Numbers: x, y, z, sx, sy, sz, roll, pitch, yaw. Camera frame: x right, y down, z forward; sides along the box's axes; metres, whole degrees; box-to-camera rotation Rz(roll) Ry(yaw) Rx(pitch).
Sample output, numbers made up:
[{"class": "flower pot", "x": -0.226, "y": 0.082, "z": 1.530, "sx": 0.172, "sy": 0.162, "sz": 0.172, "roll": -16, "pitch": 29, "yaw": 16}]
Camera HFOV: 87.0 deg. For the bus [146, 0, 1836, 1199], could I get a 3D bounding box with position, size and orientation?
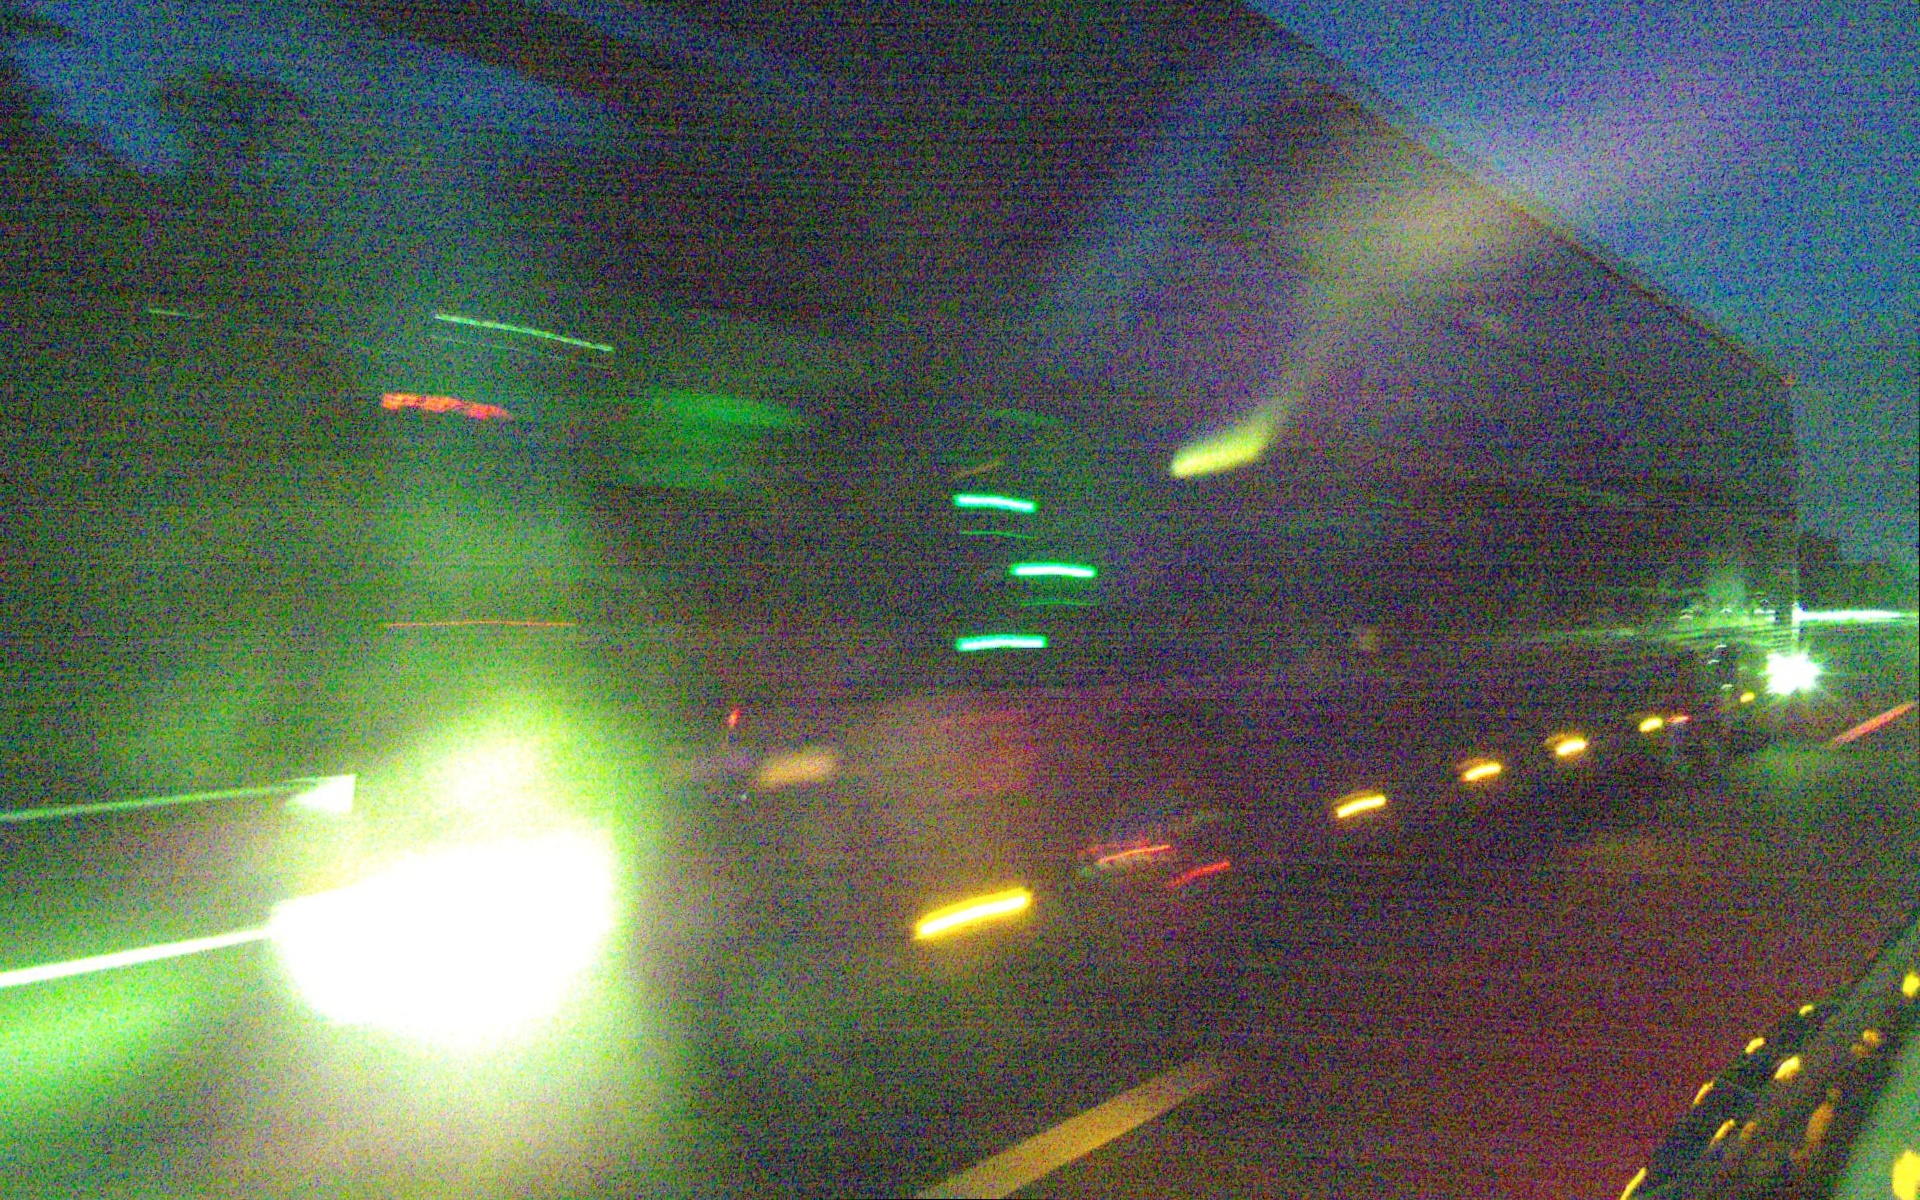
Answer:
[{"class": "bus", "x": 3.336, "y": -0.732, "z": 7.420, "sx": 14.446, "sy": 4.045, "sz": 2.656, "roll": 0, "pitch": -1, "yaw": -41}]
